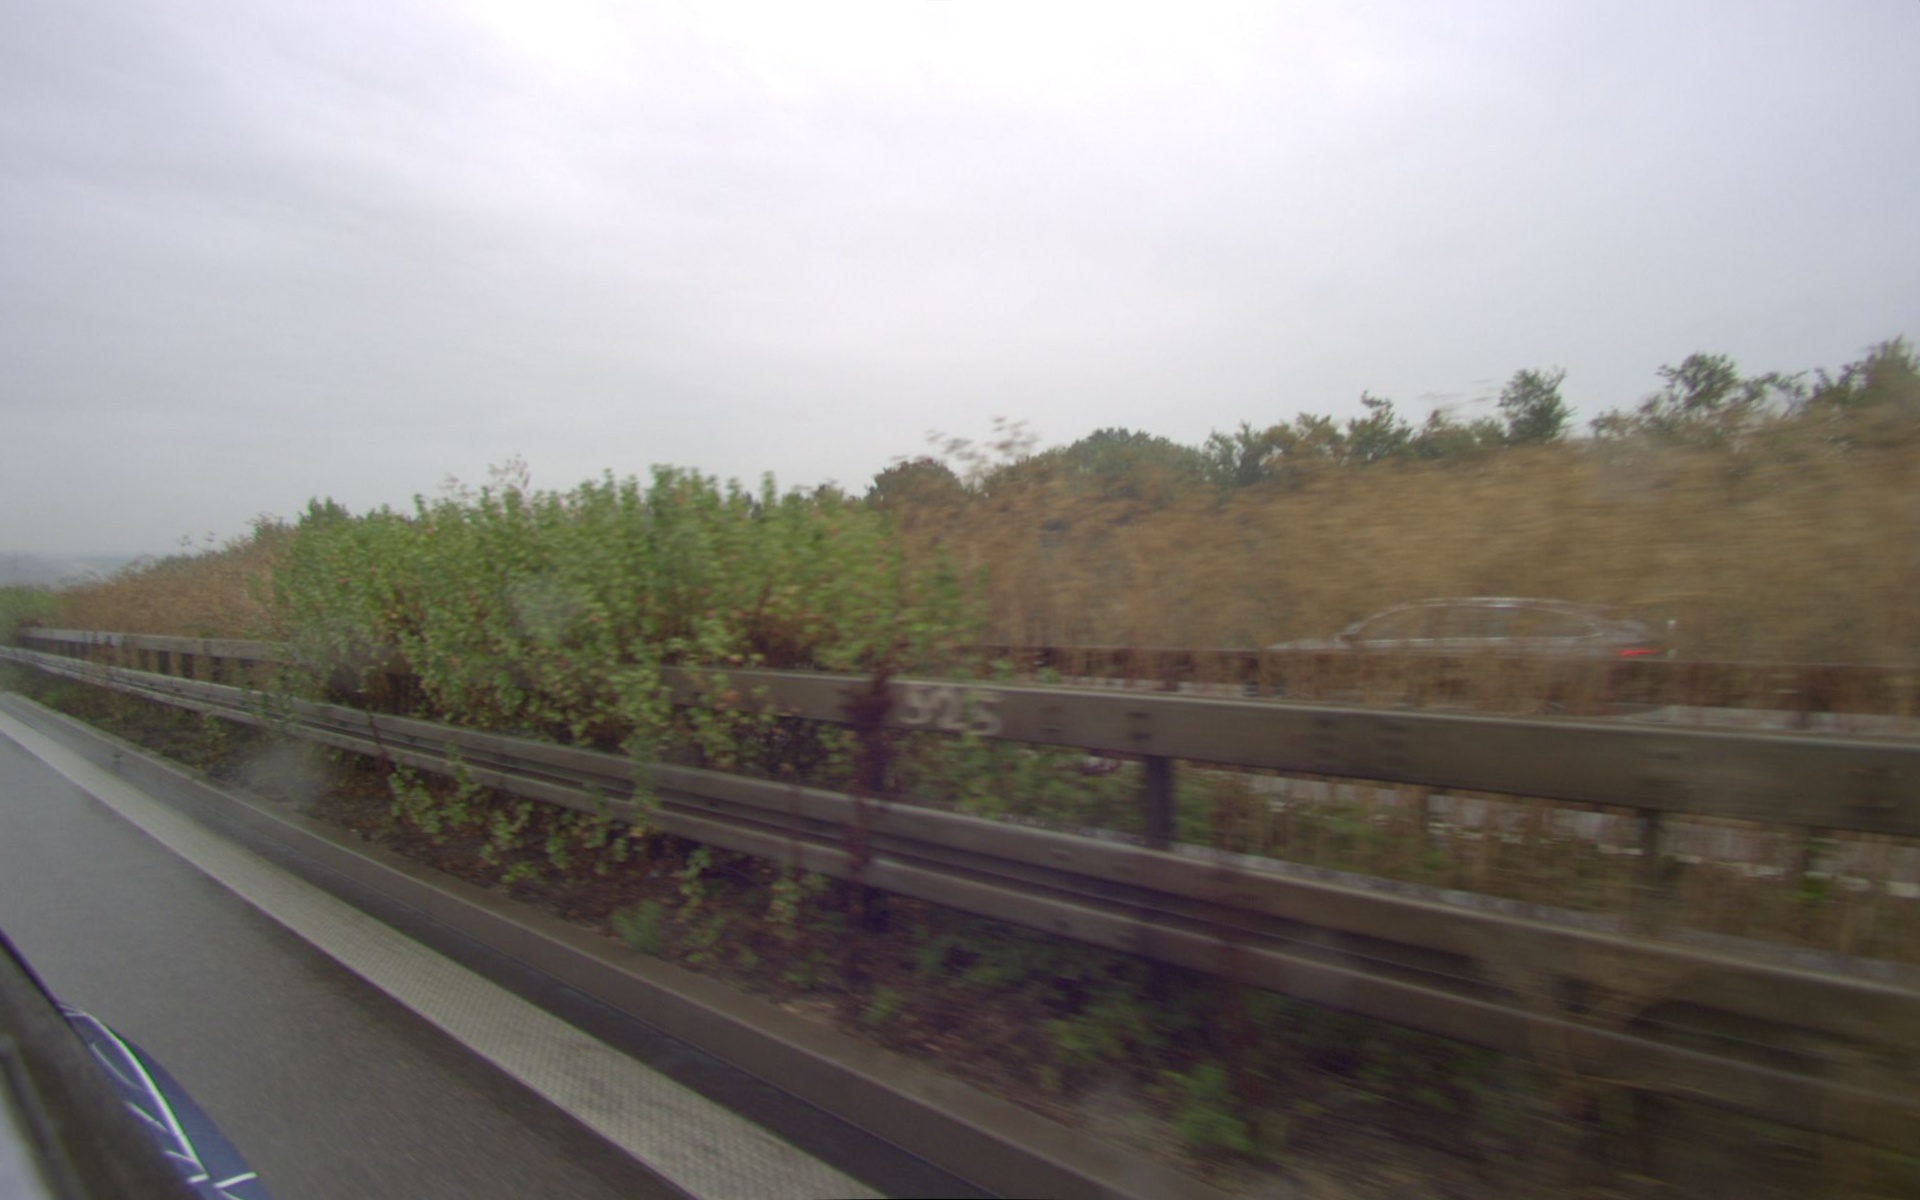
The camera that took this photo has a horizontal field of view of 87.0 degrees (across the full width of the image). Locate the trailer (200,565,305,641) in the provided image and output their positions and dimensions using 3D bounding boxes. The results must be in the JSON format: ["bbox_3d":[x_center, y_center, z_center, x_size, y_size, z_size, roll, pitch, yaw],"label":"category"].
[{"bbox_3d":[-43.525,0.232,62.010,12.941,4.253,2.491,-1,0,43],"label":"trailer"}]

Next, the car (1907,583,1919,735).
[{"bbox_3d":[10.325,0.519,7.992,3.997,1.408,1.973,-1,-1,40],"label":"car"}]
